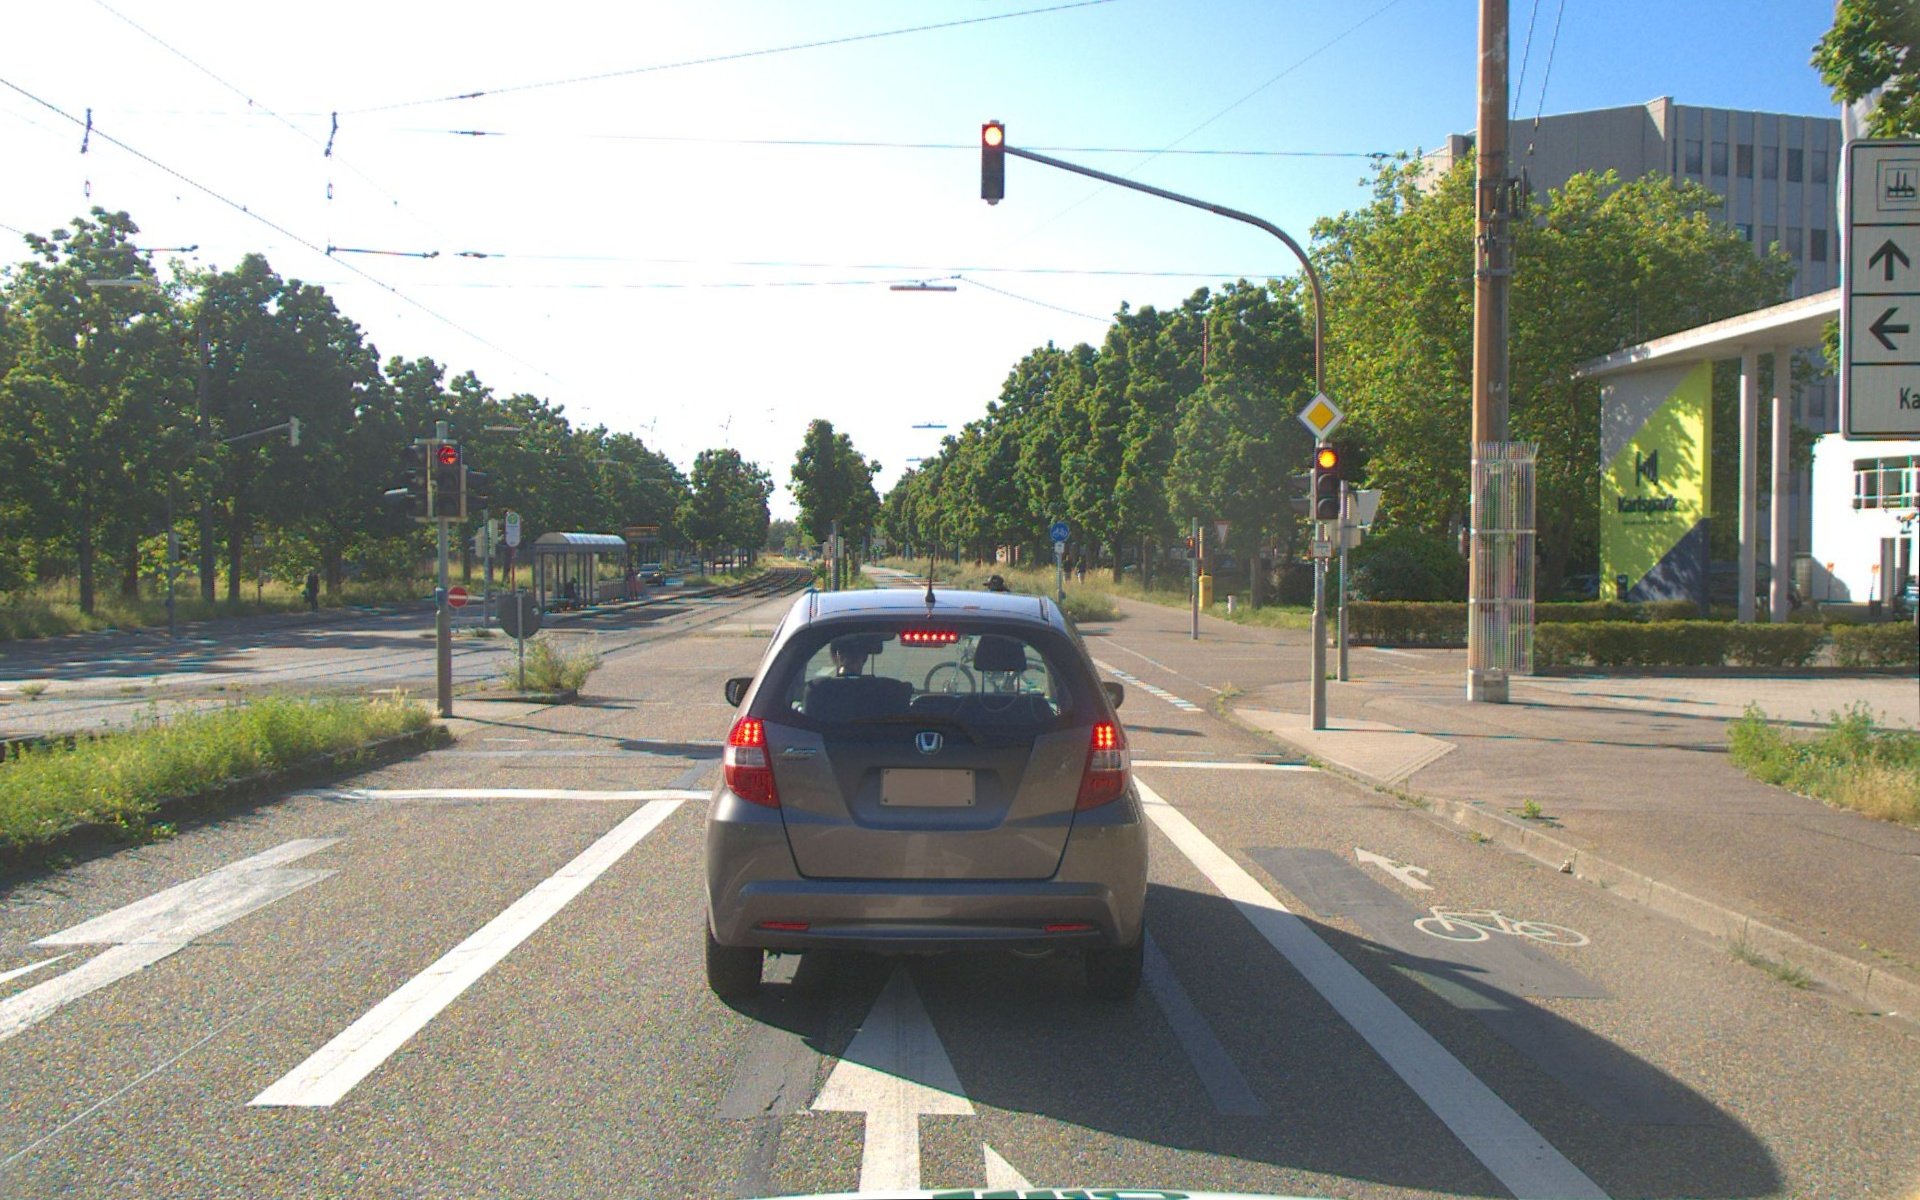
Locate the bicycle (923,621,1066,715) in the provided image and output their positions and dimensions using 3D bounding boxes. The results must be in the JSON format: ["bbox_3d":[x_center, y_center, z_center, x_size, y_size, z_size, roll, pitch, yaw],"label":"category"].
[{"bbox_3d":[0.421,0.836,20.612,1.739,1.121,0.698,0,0,-2],"label":"bicycle"}]

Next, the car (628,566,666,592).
[{"bbox_3d":[-23.560,-1.609,124.653,2.052,1.841,4.791,-2,2,-3],"label":"car"}]

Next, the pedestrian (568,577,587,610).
[{"bbox_3d":[-15.100,-0.269,65.300,0.552,1.279,0.580,-2,0,-2],"label":"pedestrian"}]

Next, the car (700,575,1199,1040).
[{"bbox_3d":[-0.058,0.697,7.420,1.666,1.550,3.709,1,0,-1],"label":"car"}]

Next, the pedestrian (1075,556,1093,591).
[{"bbox_3d":[6.793,-1.473,90.889,0.865,1.917,0.875,0,1,-5],"label":"pedestrian"}]

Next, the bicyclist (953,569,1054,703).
[{"bbox_3d":[0.529,0.435,20.600,1.208,1.621,0.805,0,0,-2],"label":"bicyclist"}]

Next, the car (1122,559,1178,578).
[{"bbox_3d":[16.654,-2.745,144.826,4.543,1.582,1.997,-1,1,-7],"label":"car"}]

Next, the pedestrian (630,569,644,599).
[{"bbox_3d":[-15.590,-0.770,79.853,0.533,1.473,0.559,-1,0,-1],"label":"pedestrian"}]

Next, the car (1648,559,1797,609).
[{"bbox_3d":[27.996,-0.616,60.762,4.803,1.787,2.083,0,1,-16],"label":"car"}]

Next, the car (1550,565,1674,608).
[{"bbox_3d":[26.630,-0.549,67.603,4.371,1.715,1.892,0,1,-7],"label":"car"}]

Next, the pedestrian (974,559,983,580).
[{"bbox_3d":[1.539,-2.589,139.110,0.710,1.720,0.820,0,-1,-3],"label":"pedestrian"}]

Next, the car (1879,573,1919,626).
[{"bbox_3d":[30.628,-0.022,50.734,3.914,1.605,1.950,0,1,-10],"label":"car"}]

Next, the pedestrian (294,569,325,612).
[{"bbox_3d":[-26.937,-0.416,68.502,0.744,1.764,0.936,0,1,27],"label":"pedestrian"}]

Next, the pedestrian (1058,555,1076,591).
[{"bbox_3d":[5.873,-1.490,90.857,0.865,1.917,0.875,0,1,-5],"label":"pedestrian"}]
